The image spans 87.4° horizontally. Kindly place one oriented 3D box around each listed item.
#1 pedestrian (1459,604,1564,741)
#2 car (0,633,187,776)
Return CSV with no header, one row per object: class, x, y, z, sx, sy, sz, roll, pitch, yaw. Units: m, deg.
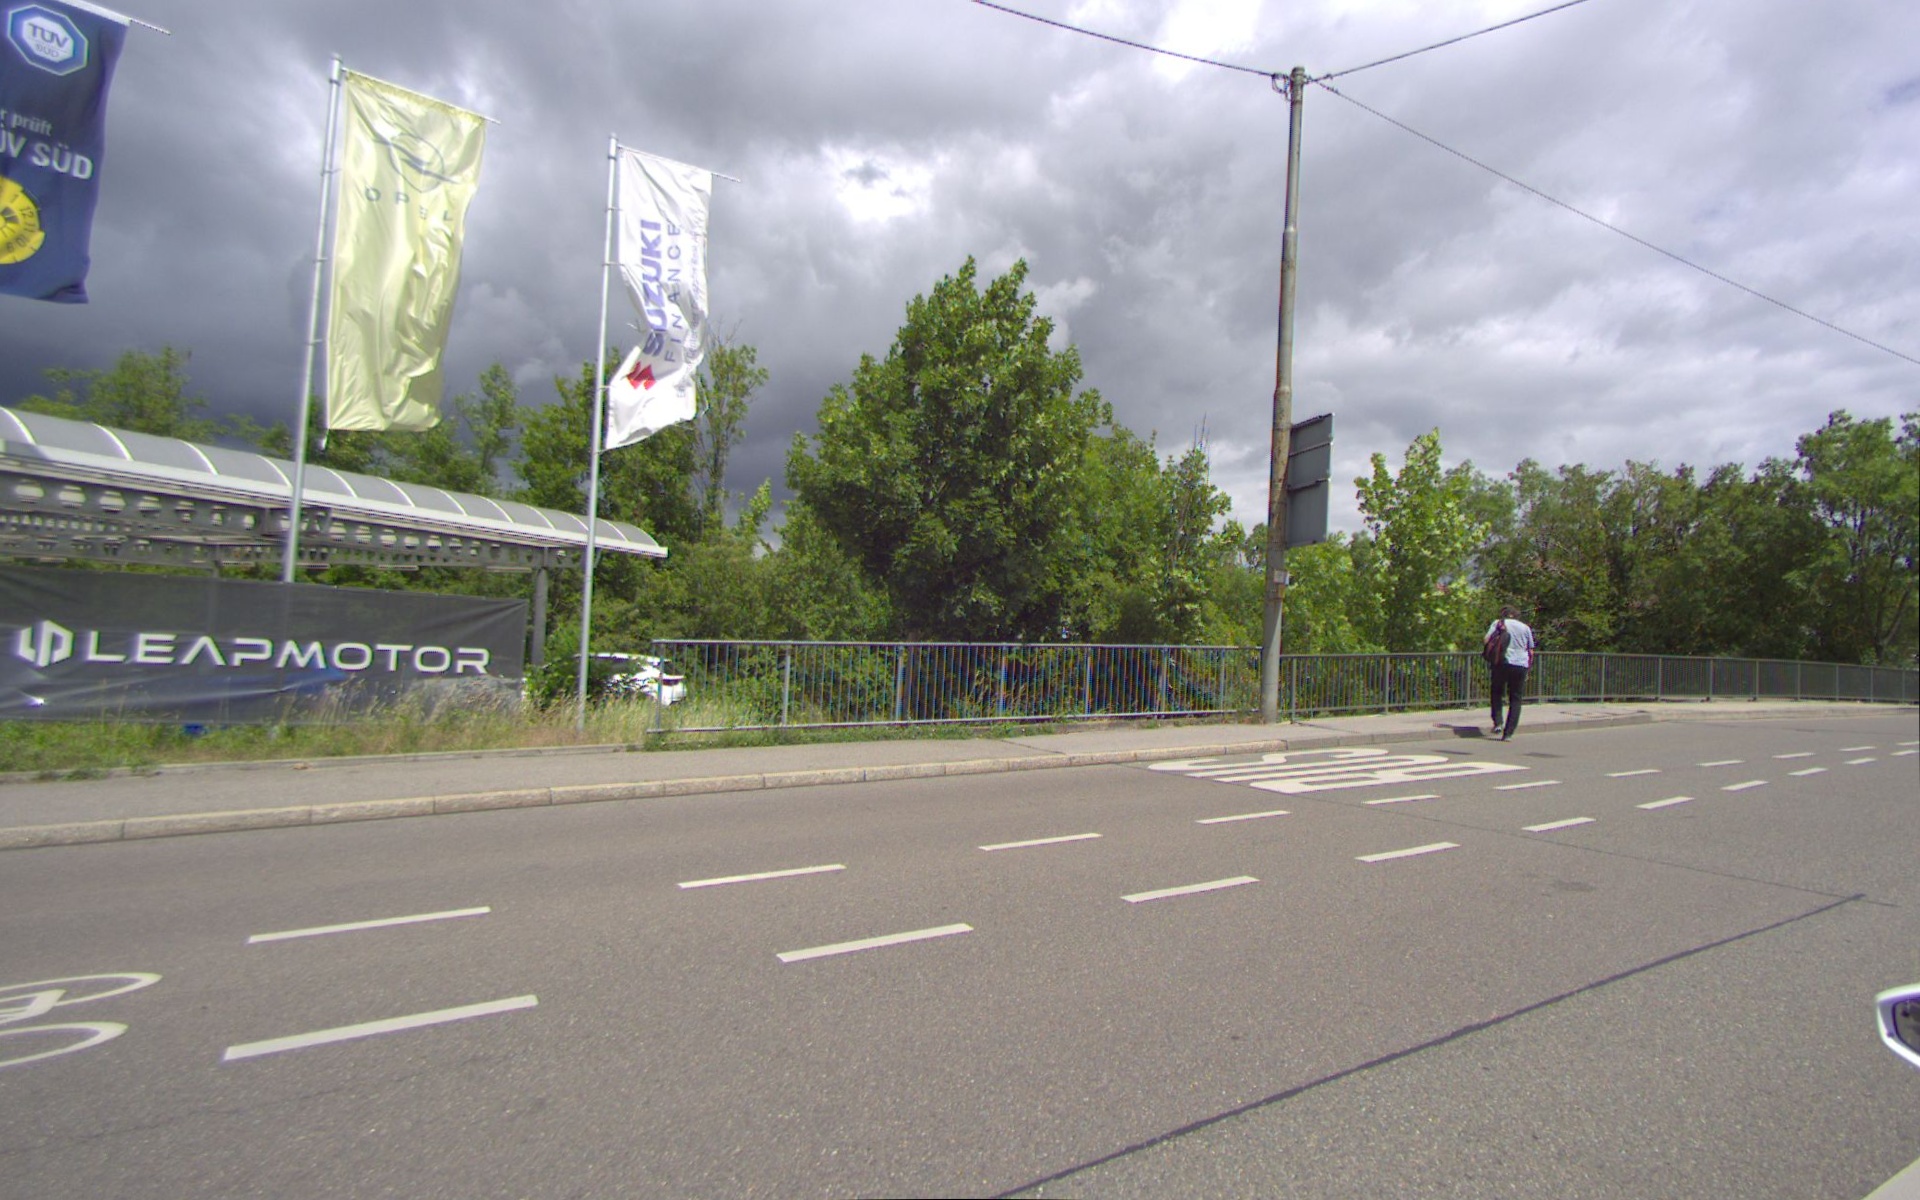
pedestrian,7.920,1.017,14.485,0.979,1.861,1.037,2,0,9
car,-11.957,1.143,11.947,3.925,1.485,1.817,3,-2,-6
